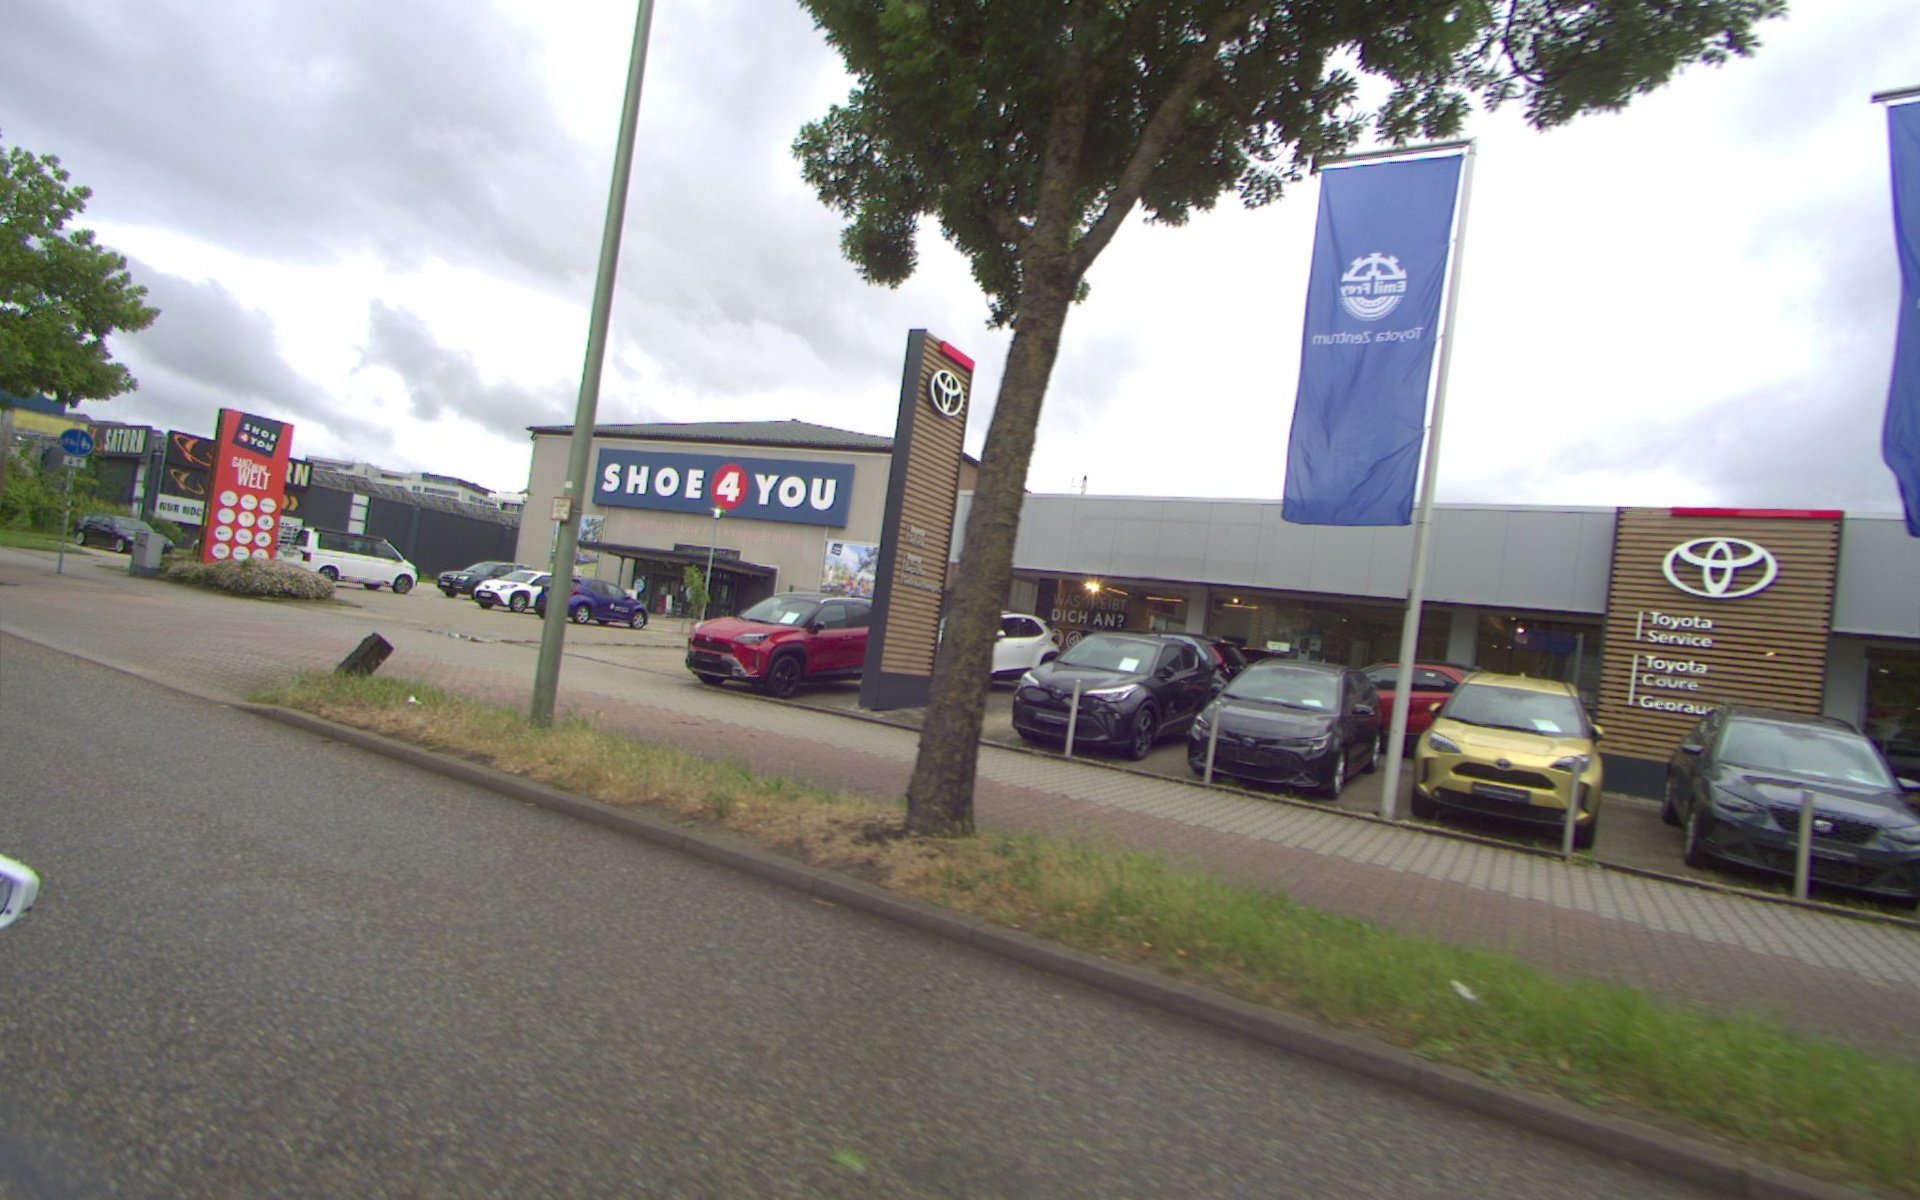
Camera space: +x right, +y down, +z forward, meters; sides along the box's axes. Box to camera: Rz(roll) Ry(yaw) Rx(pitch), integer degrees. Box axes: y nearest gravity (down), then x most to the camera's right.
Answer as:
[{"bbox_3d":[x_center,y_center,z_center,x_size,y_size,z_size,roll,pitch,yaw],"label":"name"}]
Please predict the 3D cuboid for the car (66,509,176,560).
[{"bbox_3d":[-33.934,-2.667,40.687,4.188,1.445,1.583,8,-1,23],"label":"car"}]

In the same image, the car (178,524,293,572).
[{"bbox_3d":[-33.077,-2.373,45.928,4.862,1.485,1.887,8,-1,23],"label":"car"}]

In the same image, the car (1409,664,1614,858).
[{"bbox_3d":[6.417,1.670,11.682,1.639,1.586,3.841,7,2,30],"label":"car"}]

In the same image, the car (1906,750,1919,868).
[{"bbox_3d":[10.345,1.988,9.164,1.784,1.810,3.985,7,2,35],"label":"car"}]

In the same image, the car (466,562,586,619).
[{"bbox_3d":[-15.419,-0.304,35.956,1.646,1.532,3.652,7,-2,24],"label":"car"}]

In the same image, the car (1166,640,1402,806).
[{"bbox_3d":[4.265,1.511,12.807,1.771,1.556,3.993,7,-2,33],"label":"car"}]

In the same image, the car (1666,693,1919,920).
[{"bbox_3d":[8.523,1.923,10.531,1.684,1.567,3.986,7,1,35],"label":"car"}]

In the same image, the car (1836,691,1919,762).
[{"bbox_3d":[23.917,3.278,25.813,1.647,1.554,3.466,7,-2,35],"label":"car"}]

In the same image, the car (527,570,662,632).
[{"bbox_3d":[-11.998,0.085,33.294,1.728,1.532,4.000,7,-2,25],"label":"car"}]

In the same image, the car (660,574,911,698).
[{"bbox_3d":[-2.697,0.611,16.340,1.766,1.624,3.843,7,0,33],"label":"car"}]

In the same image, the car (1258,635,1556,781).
[{"bbox_3d":[7.238,1.671,16.420,4.056,1.641,1.875,7,0,34],"label":"car"}]

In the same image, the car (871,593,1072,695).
[{"bbox_3d":[0.342,0.943,20.280,1.852,1.641,4.108,7,0,37],"label":"car"}]

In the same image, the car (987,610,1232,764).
[{"bbox_3d":[2.261,1.192,14.247,1.815,1.667,3.990,7,0,33],"label":"car"}]

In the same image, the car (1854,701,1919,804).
[{"bbox_3d":[16.420,2.606,16.741,1.647,1.553,3.991,7,-2,34],"label":"car"}]

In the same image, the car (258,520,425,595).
[{"bbox_3d":[-22.568,-1.499,36.975,1.954,2.037,4.838,6,-2,23],"label":"car"}]

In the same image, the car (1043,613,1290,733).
[{"bbox_3d":[3.872,1.333,19.094,4.056,1.641,1.875,7,0,34],"label":"car"}]

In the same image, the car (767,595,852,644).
[{"bbox_3d":[-7.233,0.981,48.874,1.901,1.882,4.258,7,-2,24],"label":"car"}]

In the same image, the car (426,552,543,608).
[{"bbox_3d":[-20.089,-0.792,42.696,1.711,1.749,4.259,7,-2,24],"label":"car"}]
